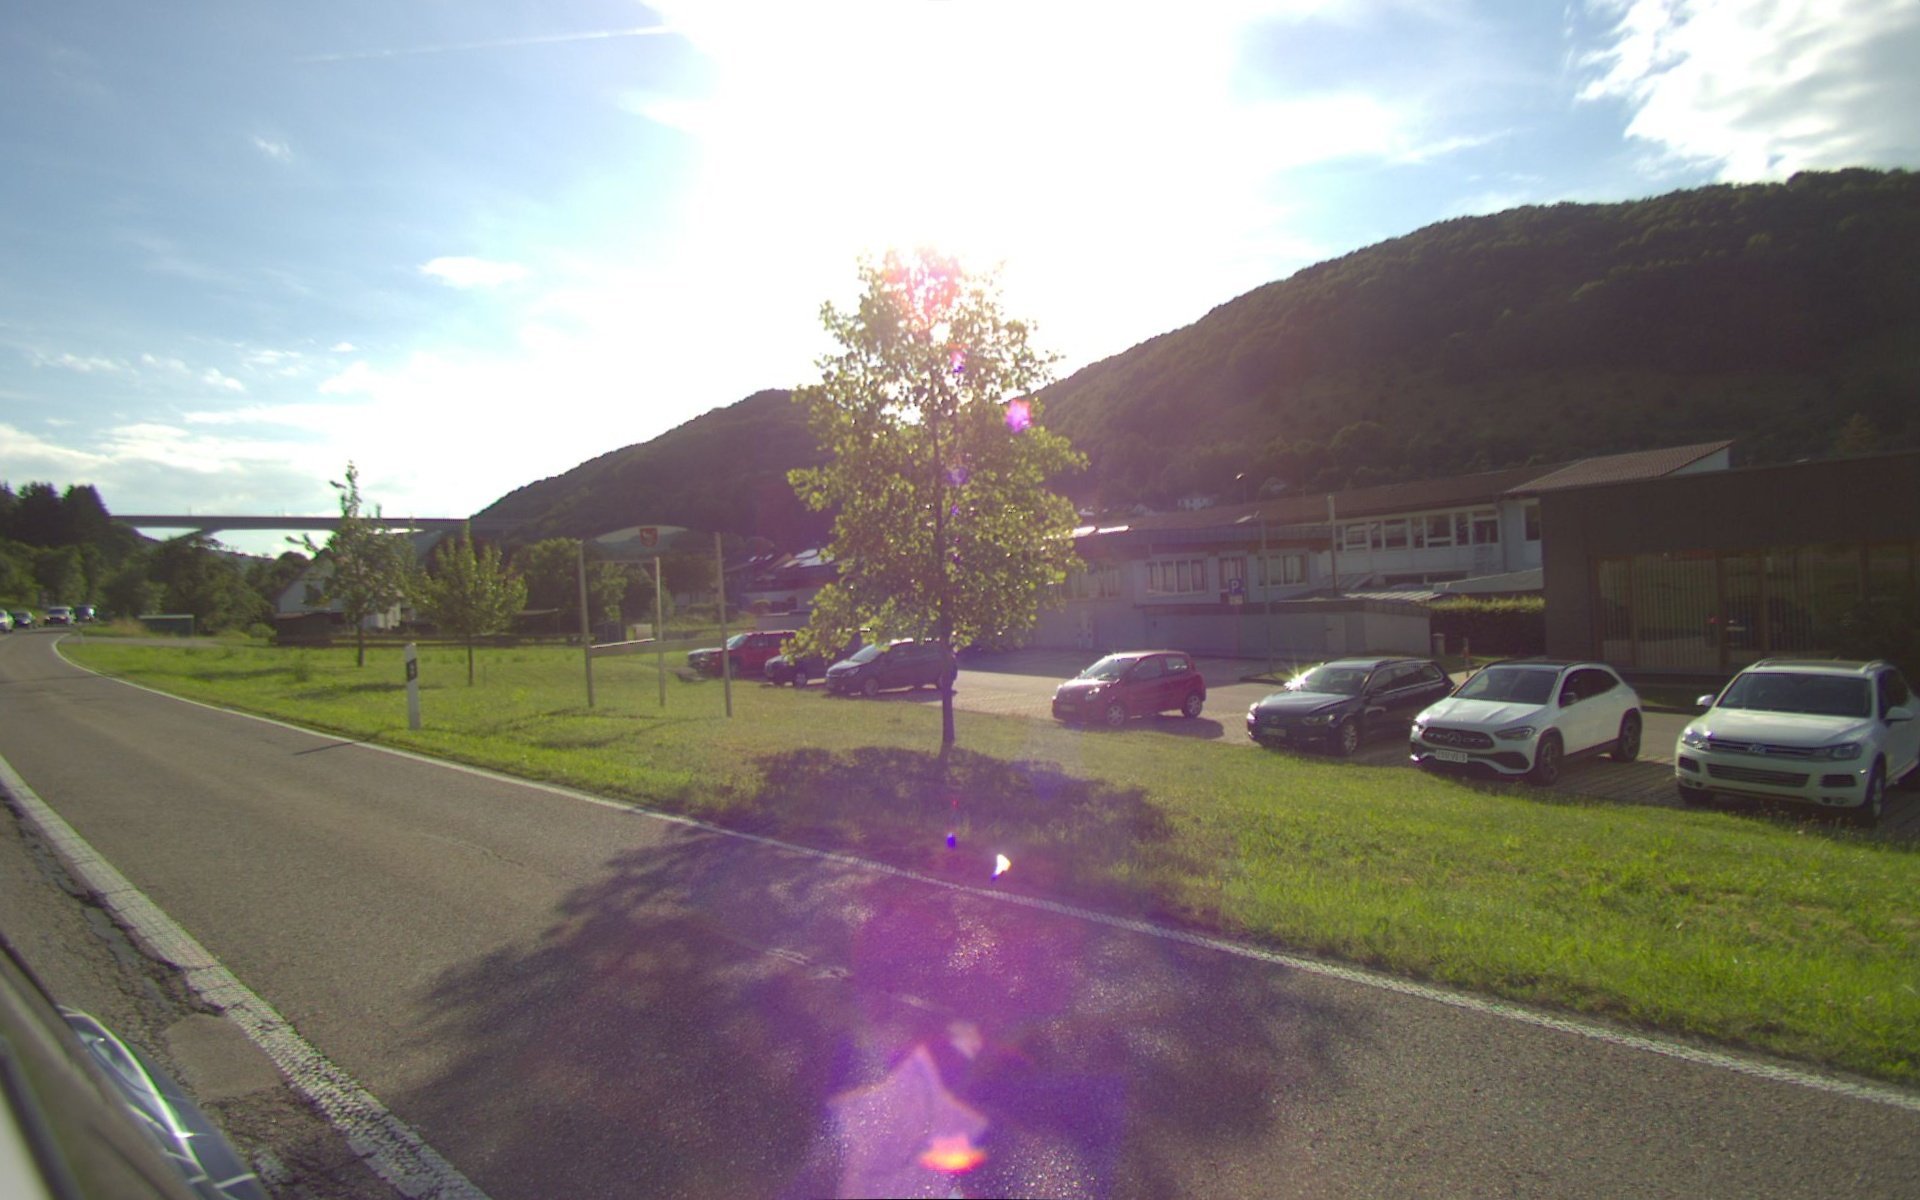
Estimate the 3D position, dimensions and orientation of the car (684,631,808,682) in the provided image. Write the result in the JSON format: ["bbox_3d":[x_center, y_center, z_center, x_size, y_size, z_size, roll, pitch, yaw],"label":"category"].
[{"bbox_3d":[-8.164,2.114,38.720,4.262,1.682,1.853,-1,0,-33],"label":"car"}]

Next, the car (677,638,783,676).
[{"bbox_3d":[-9.388,2.289,41.390,3.835,1.379,1.857,0,0,-36],"label":"car"}]

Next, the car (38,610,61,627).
[{"bbox_3d":[-87.117,1.755,96.848,1.606,1.490,3.684,-1,0,-42],"label":"car"}]

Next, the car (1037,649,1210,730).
[{"bbox_3d":[3.592,1.877,21.951,3.672,1.408,1.619,-1,0,-37],"label":"car"}]

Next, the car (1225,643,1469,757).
[{"bbox_3d":[6.964,1.660,18.038,4.479,1.566,2.004,-1,0,-37],"label":"car"}]

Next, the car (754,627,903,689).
[{"bbox_3d":[-4.438,1.910,34.643,4.928,1.807,1.688,-1,0,-39],"label":"car"}]

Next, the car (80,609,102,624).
[{"bbox_3d":[-93.539,1.781,108.982,1.605,1.490,3.687,-1,0,-38],"label":"car"}]

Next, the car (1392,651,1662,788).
[{"bbox_3d":[8.812,1.693,15.600,4.479,1.566,2.004,-1,0,-37],"label":"car"}]

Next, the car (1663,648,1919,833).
[{"bbox_3d":[10.955,1.590,12.878,4.479,1.716,2.004,-1,0,-37],"label":"car"}]

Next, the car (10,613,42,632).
[{"bbox_3d":[-76.757,1.808,83.184,1.605,1.490,3.687,-1,0,-38],"label":"car"}]

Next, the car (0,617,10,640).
[{"bbox_3d":[-66.946,1.961,70.095,1.607,1.490,3.681,-1,0,-45],"label":"car"}]

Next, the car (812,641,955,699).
[{"bbox_3d":[-2.235,2.047,30.189,3.956,1.463,1.687,-1,-2,-39],"label":"car"}]
